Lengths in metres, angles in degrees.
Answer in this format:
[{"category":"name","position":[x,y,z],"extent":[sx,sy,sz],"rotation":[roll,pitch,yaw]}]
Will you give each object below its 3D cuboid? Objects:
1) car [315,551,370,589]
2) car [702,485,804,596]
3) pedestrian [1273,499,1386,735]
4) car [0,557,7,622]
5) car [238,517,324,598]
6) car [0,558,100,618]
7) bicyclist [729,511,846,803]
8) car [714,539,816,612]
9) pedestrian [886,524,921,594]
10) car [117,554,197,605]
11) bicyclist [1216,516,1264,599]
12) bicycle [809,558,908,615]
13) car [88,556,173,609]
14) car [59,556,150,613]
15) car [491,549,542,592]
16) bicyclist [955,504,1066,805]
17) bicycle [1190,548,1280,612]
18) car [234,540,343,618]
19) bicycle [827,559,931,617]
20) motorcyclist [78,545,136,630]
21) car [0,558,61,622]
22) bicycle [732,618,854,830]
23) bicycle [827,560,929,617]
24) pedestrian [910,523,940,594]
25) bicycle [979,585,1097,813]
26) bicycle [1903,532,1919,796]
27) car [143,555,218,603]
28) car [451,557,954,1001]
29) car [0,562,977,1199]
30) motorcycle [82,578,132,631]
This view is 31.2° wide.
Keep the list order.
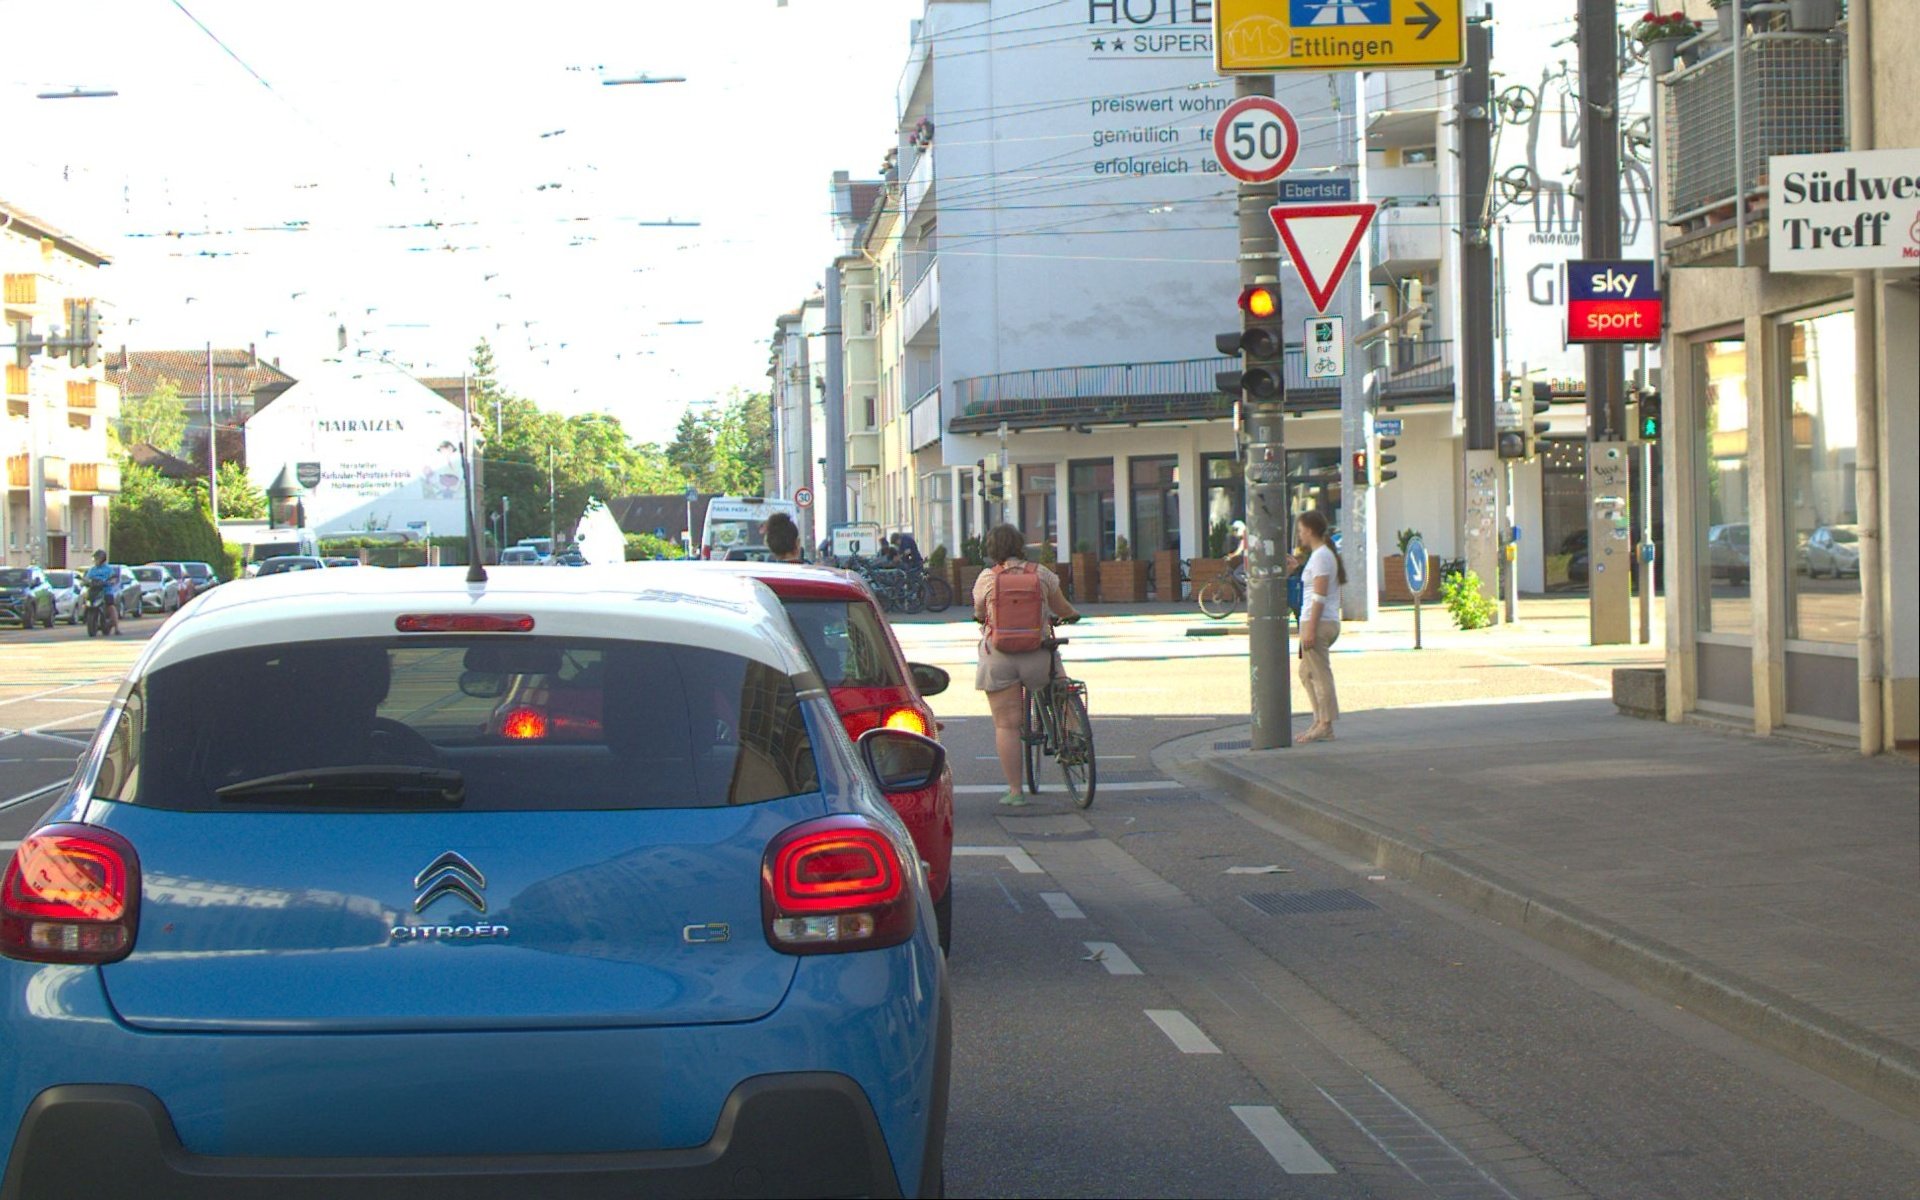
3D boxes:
[{"category":"car","position":[-25.964,-1.280,144.560],"extent":[1.950,1.514,4.001],"rotation":[-1,1,-6]},{"category":"car","position":[-4.424,-1.275,73.231],"extent":[2.079,2.262,5.652],"rotation":[0,1,-4]},{"category":"pedestrian","position":[2.606,0.113,24.299],"extent":[0.751,1.629,0.740],"rotation":[-1,1,6]},{"category":"car","position":[-23.312,-0.193,79.216],"extent":[1.950,1.514,4.001],"rotation":[-1,1,-6]},{"category":"car","position":[-23.651,-1.503,119.927],"extent":[2.493,2.703,5.839],"rotation":[-1,1,-7]},{"category":"car","position":[-24.297,-0.335,91.938],"extent":[1.950,1.514,4.001],"rotation":[-1,1,-6]},{"category":"bicyclist","position":[-0.990,0.310,19.628],"extent":[0.616,1.624,0.760],"rotation":[-1,1,-4]},{"category":"car","position":[-3.874,-0.512,67.795],"extent":[1.786,1.354,3.915],"rotation":[-1,1,-6]},{"category":"pedestrian","position":[-1.145,-0.843,70.248],"extent":[0.525,1.415,0.546],"rotation":[-1,1,20]},{"category":"car","position":[-25.349,-0.671,108.648],"extent":[1.950,1.514,4.001],"rotation":[-1,1,-6]},{"category":"bicyclist","position":[4.925,-0.750,60.366],"extent":[0.727,1.429,0.605],"rotation":[-1,1,13]},{"category":"bicycle","position":[-2.018,-0.271,68.303],"extent":[1.904,1.061,0.642],"rotation":[-1,1,-7]},{"category":"car","position":[-24.916,-0.541,103.369],"extent":[1.950,1.514,4.001],"rotation":[-1,1,-6]},{"category":"car","position":[-24.449,-0.457,98.365],"extent":[1.950,1.514,4.001],"rotation":[-1,1,-6]},{"category":"car","position":[-22.031,-1.500,170.832],"extent":[2.338,2.032,5.051],"rotation":[-1,1,-6]},{"category":"bicyclist","position":[0.295,0.307,20.589],"extent":[0.600,1.740,1.084],"rotation":[-1,1,-1]},{"category":"bicycle","position":[4.832,-0.349,60.404],"extent":[1.489,1.087,0.605],"rotation":[-1,1,13]},{"category":"car","position":[-14.985,-0.497,76.928],"extent":[2.004,1.622,5.054],"rotation":[-1,1,-7]},{"category":"bicycle","position":[-1.550,-0.239,65.804],"extent":[1.904,1.061,0.642],"rotation":[-1,1,-7]},{"category":"motorcyclist","position":[-16.667,-0.250,67.204],"extent":[0.991,1.625,0.739],"rotation":[-1,1,-9]},{"category":"car","position":[-23.777,-0.266,85.881],"extent":[1.950,1.514,4.001],"rotation":[-1,1,-6]},{"category":"bicycle","position":[-0.973,0.683,19.739],"extent":[0.616,1.099,1.886],"rotation":[-1,1,-5]},{"category":"bicycle","position":[-1.599,-0.233,67.110],"extent":[1.904,1.061,0.642],"rotation":[-1,1,-7]},{"category":"pedestrian","position":[-0.712,-0.845,69.996],"extent":[0.467,1.415,0.527],"rotation":[-1,1,-13]},{"category":"bicycle","position":[0.452,0.563,20.632],"extent":[0.613,1.260,1.911],"rotation":[-1,1,-1]},{"category":"bicycle","position":[4.918,0.317,15.742],"extent":[0.640,1.260,1.911],"rotation":[-1,1,-1]},{"category":"car","position":[-26.058,-0.720,114.990],"extent":[1.950,1.514,4.001],"rotation":[-1,1,-6]},{"category":"car","position":[-1.002,0.581,13.574],"extent":[1.680,1.457,4.001],"rotation":[0,1,-4]},{"category":"car","position":[-0.955,0.673,7.365],"extent":[1.680,1.457,4.001],"rotation":[0,1,-4]},{"category":"motorcycle","position":[-16.686,0.075,67.277],"extent":[0.751,0.973,2.098],"rotation":[-1,1,-9]}]
